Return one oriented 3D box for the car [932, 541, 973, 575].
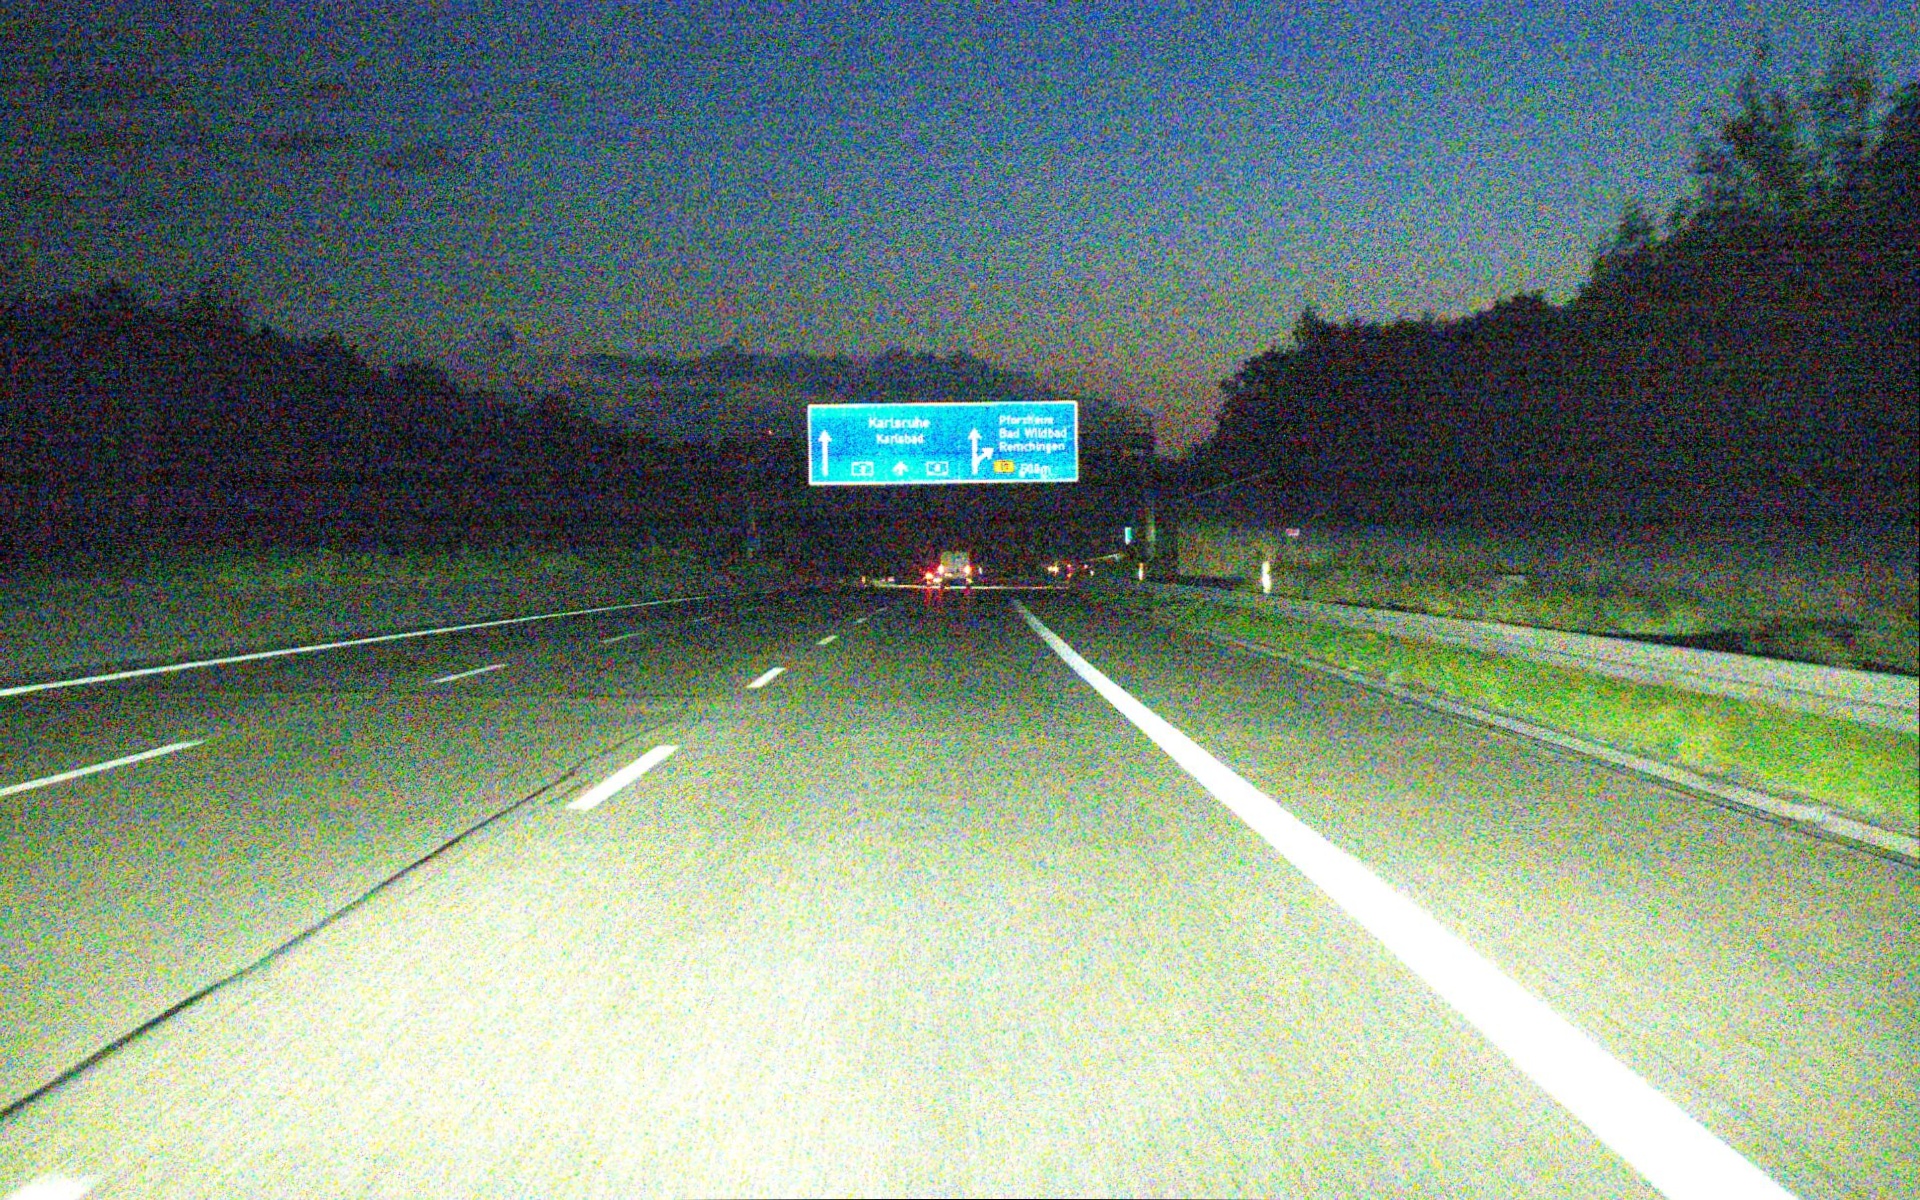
[{"bbox_3d":[-0.498,-2.855,236.044,2.511,2.306,4.970,0,0,4],"label":"car"}]
